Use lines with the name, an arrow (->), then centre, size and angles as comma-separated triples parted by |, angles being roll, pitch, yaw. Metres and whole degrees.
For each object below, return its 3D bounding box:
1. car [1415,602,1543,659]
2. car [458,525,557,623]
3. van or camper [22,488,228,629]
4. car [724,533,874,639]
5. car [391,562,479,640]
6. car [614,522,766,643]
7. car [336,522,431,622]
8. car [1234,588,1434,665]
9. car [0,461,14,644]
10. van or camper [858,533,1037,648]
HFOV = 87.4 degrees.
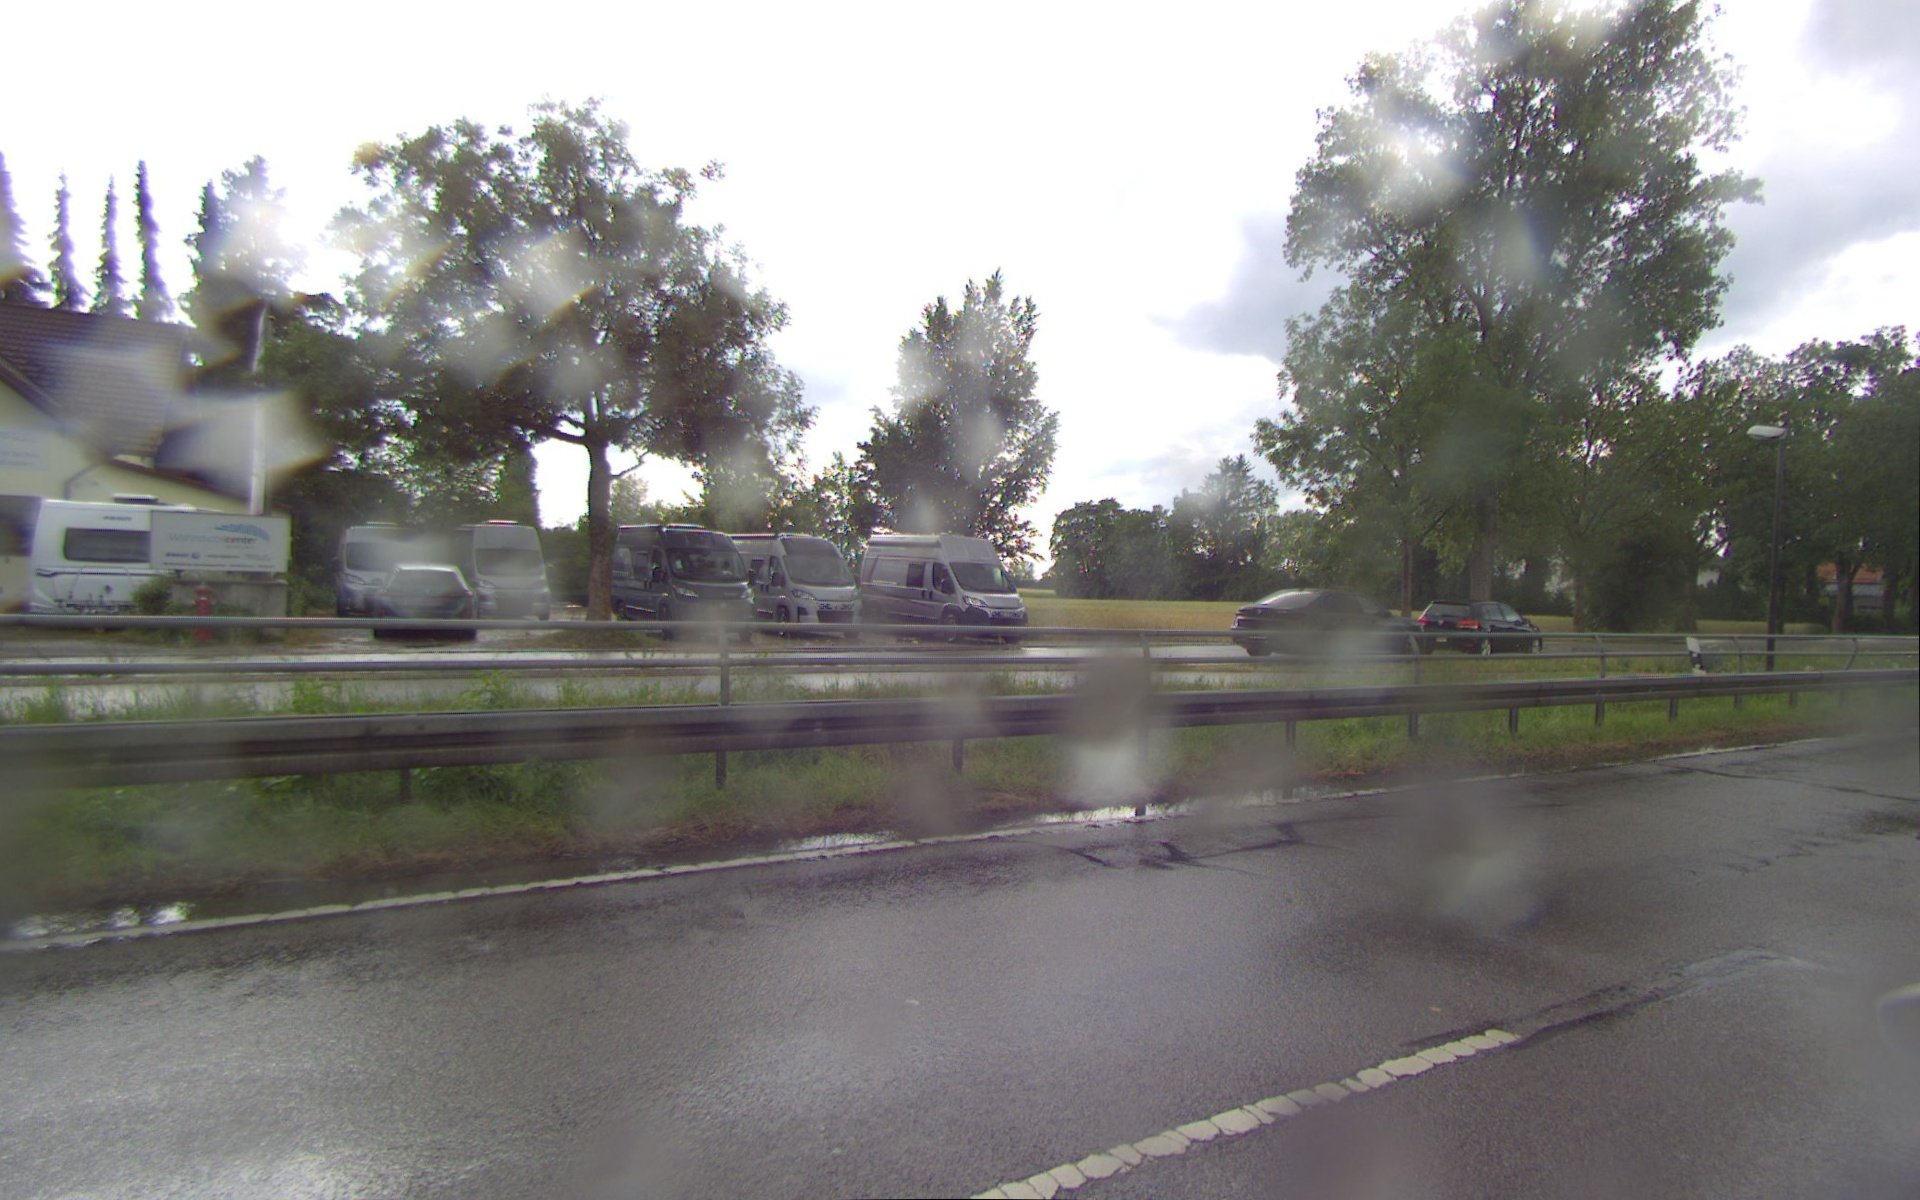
car -> 13.428, 0.770, 25.913 | 3.859, 1.349, 1.274 | 1, 1, -35
car -> -13.579, -0.773, 29.889 | 2.067, 2.573, 6.062 | 1, 1, -30
van or camper -> -17.988, -0.871, 22.036 | 2.533, 2.626, 6.189 | 1, 2, -31
car -> -4.325, -0.407, 26.221 | 1.978, 2.492, 5.062 | 1, 2, -32
car -> -11.288, -0.028, 21.610 | 1.521, 1.516, 3.867 | 1, 2, -28
car -> -6.477, -0.443, 23.624 | 1.978, 2.535, 5.152 | 1, 2, -32
car -> -16.120, -0.780, 28.133 | 2.067, 2.449, 6.062 | 1, 1, -30
car -> 8.318, 0.566, 22.143 | 5.071, 1.511, 1.505 | 1, 2, -35
car -> -16.853, -0.757, 13.588 | 5.513, 2.800, 2.369 | 1, 2, -33
van or camper -> -0.512, -0.313, 26.800 | 2.058, 2.713, 5.843 | 1, 2, -31
